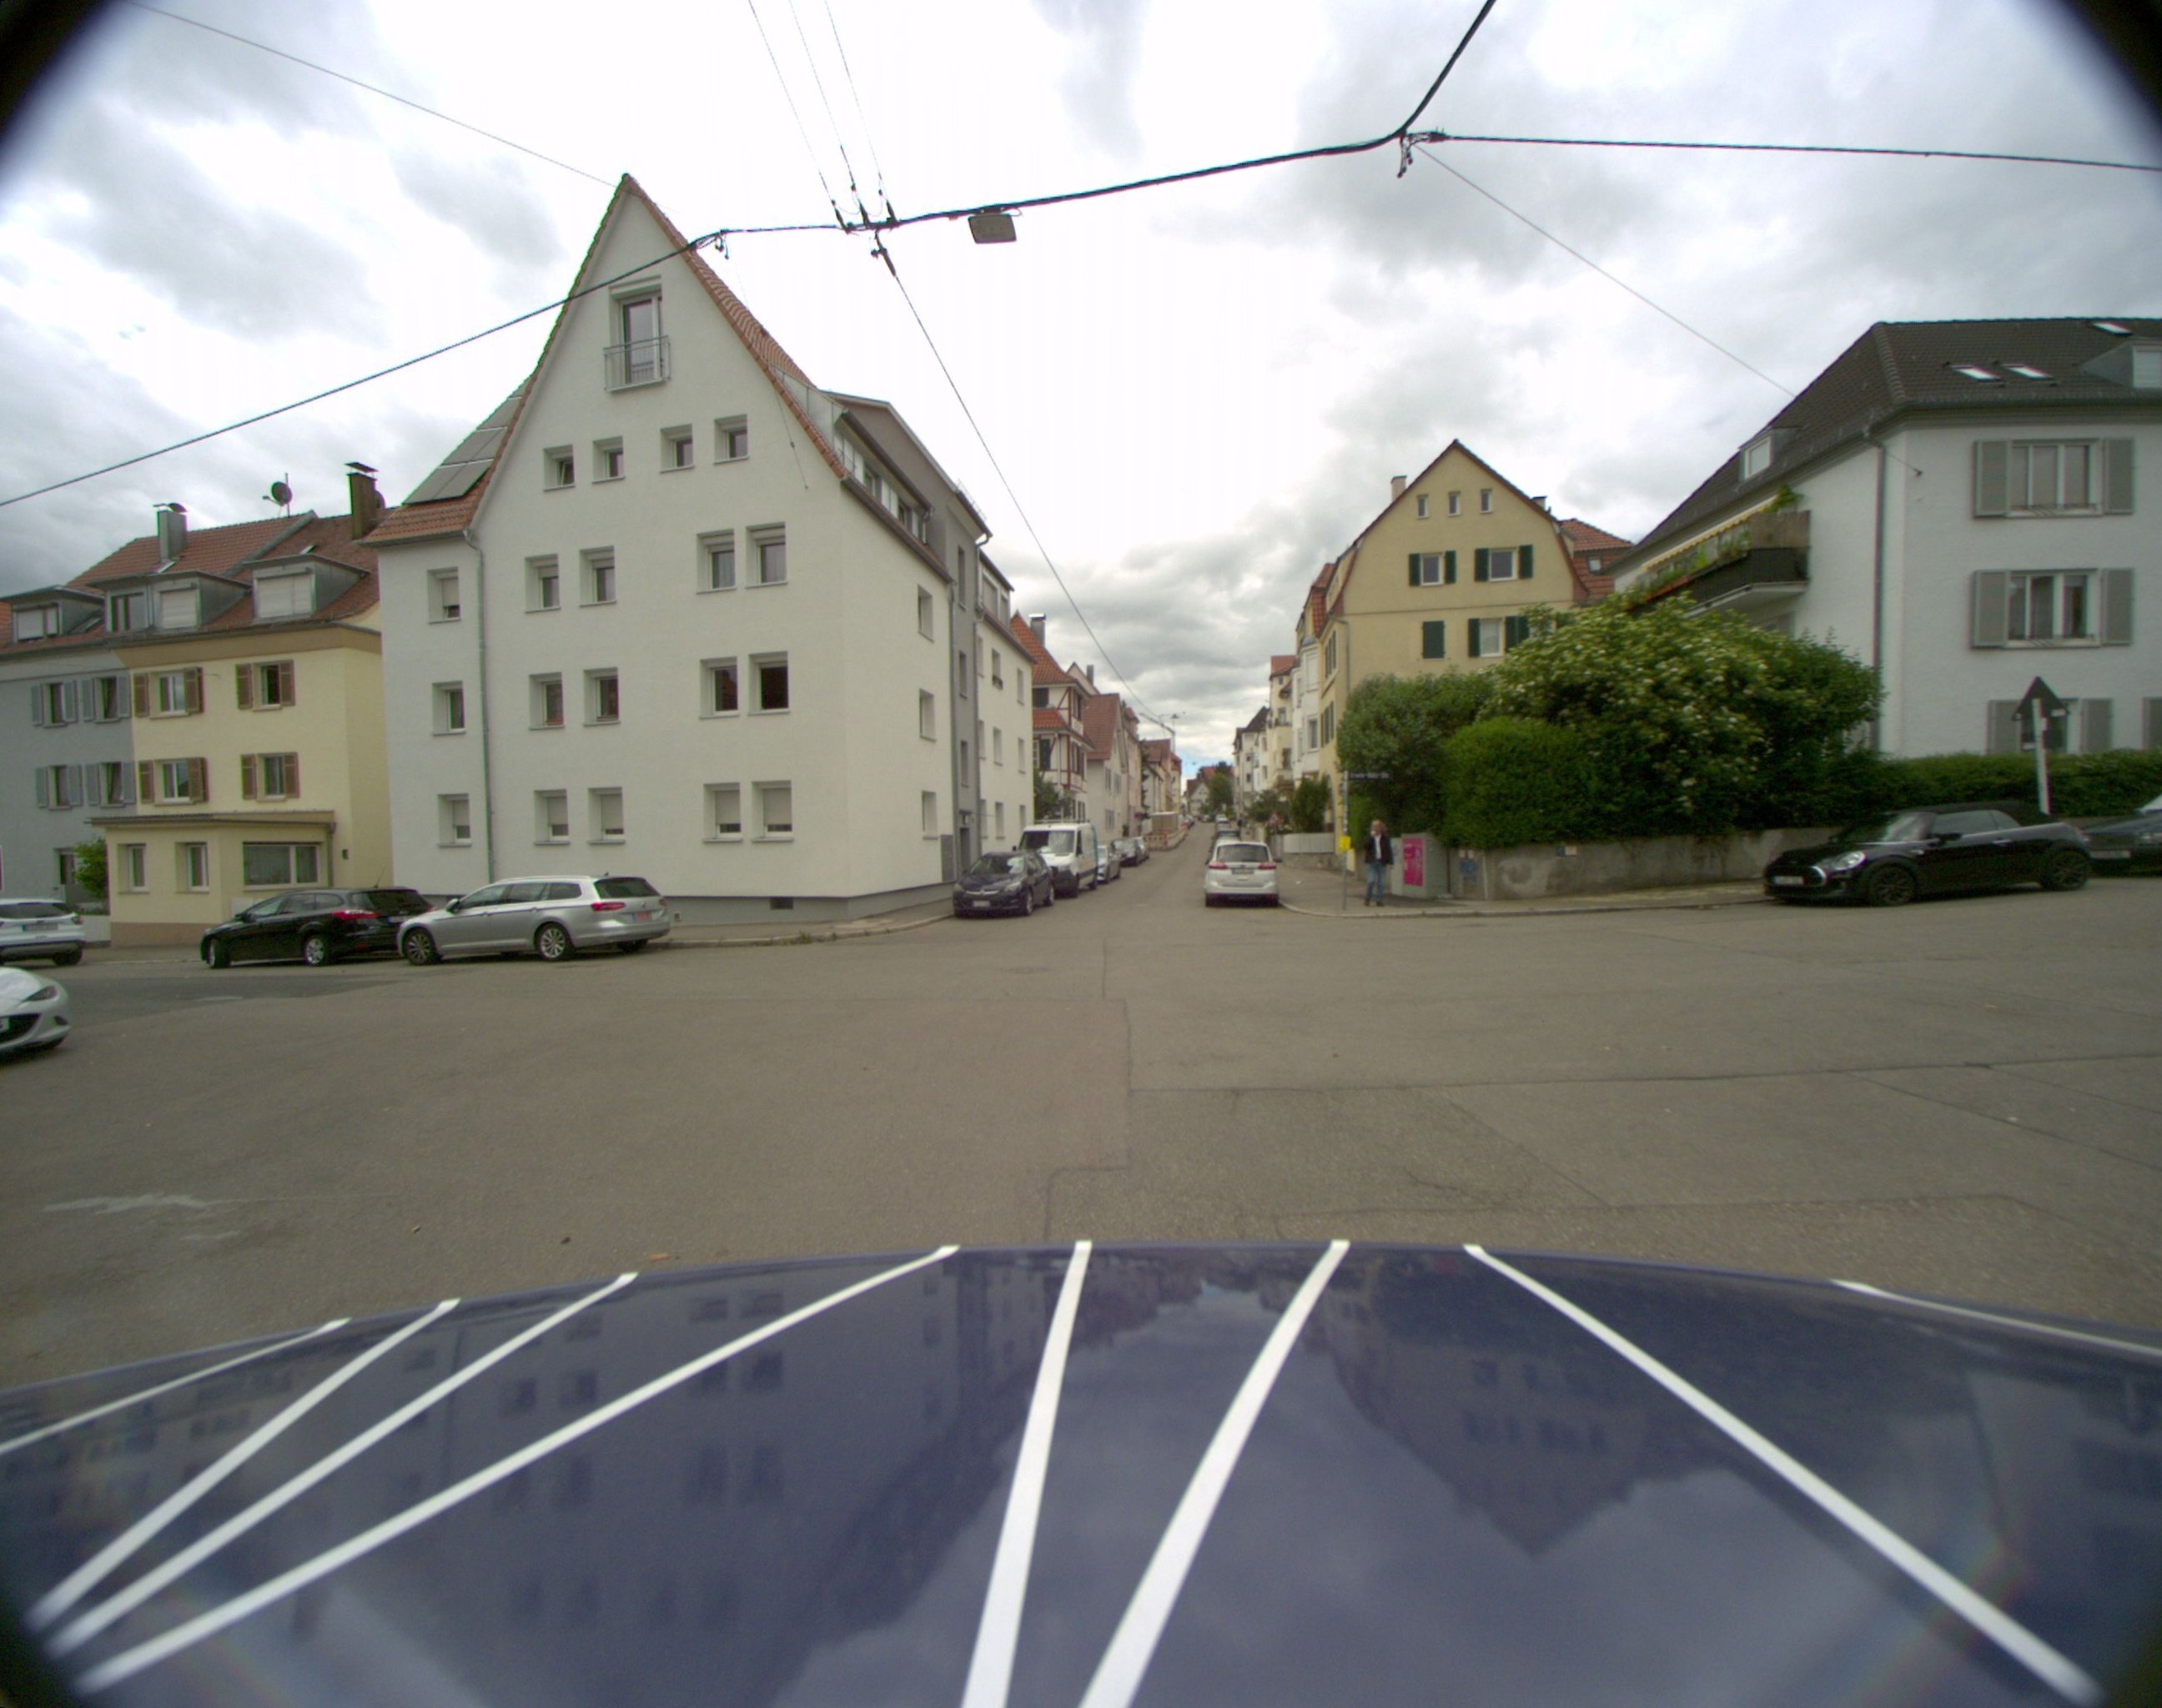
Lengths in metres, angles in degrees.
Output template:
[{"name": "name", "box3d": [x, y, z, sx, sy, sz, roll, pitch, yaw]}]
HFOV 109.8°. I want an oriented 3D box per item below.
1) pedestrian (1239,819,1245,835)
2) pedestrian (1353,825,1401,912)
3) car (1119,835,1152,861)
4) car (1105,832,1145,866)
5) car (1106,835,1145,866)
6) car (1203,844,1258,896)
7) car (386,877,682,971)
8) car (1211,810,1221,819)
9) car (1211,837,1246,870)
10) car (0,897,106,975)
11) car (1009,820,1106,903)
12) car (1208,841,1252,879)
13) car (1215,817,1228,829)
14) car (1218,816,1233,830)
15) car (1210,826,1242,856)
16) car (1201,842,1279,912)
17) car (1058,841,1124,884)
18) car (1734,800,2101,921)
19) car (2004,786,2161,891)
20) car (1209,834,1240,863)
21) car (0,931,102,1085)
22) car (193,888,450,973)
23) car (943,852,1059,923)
[{"name": "pedestrian", "box3d": [17.749, -2.988, 83.877, 0.616, 1.647, 0.812, -2, 3, 11]}, {"name": "pedestrian", "box3d": [6.237, 0.298, 16.026, 0.643, 1.749, 0.823, -3, 1, 2]}, {"name": "car", "box3d": [3.386, -0.416, 46.593, 1.628, 1.385, 4.237, -2, 2, 9]}, {"name": "car", "box3d": [2.471, -0.281, 41.565, 1.780, 1.710, 4.002, -1, 1, 8]}, {"name": "car", "box3d": [2.480, -0.232, 41.513, 1.608, 1.481, 4.024, -2, 3, 10]}, {"name": "car", "box3d": [4.866, 0.465, 24.963, 1.609, 1.445, 3.615, 2, 2, 10]}, {"name": "car", "box3d": [-9.690, 1.227, 13.580, 4.352, 1.441, 1.765, -2, 0, 11]}, {"name": "car", "box3d": [26.711, -7.837, 150.454, 1.781, 1.558, 4.001, -1, 4, 12]}, {"name": "car", "box3d": [7.497, -0.069, 38.905, 1.641, 1.421, 4.124, 1, 3, 10]}, {"name": "car", "box3d": [-25.729, 1.955, 17.849, 3.993, 1.597, 1.869, -3, 1, 13]}, {"name": "car", "box3d": [-0.601, 0.109, 24.659, 1.997, 2.409, 5.295, 0, 2, 11]}, {"name": "car", "box3d": [6.609, 0.198, 33.950, 1.805, 1.472, 4.330, 0, 3, 10]}, {"name": "car", "box3d": [20.012, -4.414, 108.011, 1.781, 1.558, 4.001, 0, 4, 11]}, {"name": "car", "box3d": [17.469, -3.711, 91.704, 1.661, 1.558, 4.001, 0, 4, 11]}, {"name": "car", "box3d": [9.189, -0.867, 48.455, 1.752, 1.787, 4.149, 0, 3, 8]}, {"name": "car", "box3d": [4.130, 0.516, 20.135, 1.807, 1.650, 4.154, 0, 1, 10]}, {"name": "car", "box3d": [0.488, 0.293, 30.688, 1.827, 1.437, 4.385, -2, 2, 11]}, {"name": "car", "box3d": [13.024, 0.100, 12.035, 3.716, 1.514, 1.788, -4, 0, 2]}, {"name": "car", "box3d": [18.269, -0.401, 12.011, 4.729, 1.474, 1.888, -5, 1, 4]}, {"name": "car", "box3d": [8.207, -0.349, 43.626, 1.641, 1.391, 3.704, 2, 4, 10]}, {"name": "car", "box3d": [-11.157, 1.467, 6.646, 3.474, 1.254, 1.671, -3, 3, 10]}, {"name": "car", "box3d": [-14.859, 1.484, 14.916, 3.993, 1.413, 1.740, -3, 0, 15]}, {"name": "car", "box3d": [-1.837, 0.741, 18.865, 1.822, 1.477, 4.288, -1, 1, 9]}]
